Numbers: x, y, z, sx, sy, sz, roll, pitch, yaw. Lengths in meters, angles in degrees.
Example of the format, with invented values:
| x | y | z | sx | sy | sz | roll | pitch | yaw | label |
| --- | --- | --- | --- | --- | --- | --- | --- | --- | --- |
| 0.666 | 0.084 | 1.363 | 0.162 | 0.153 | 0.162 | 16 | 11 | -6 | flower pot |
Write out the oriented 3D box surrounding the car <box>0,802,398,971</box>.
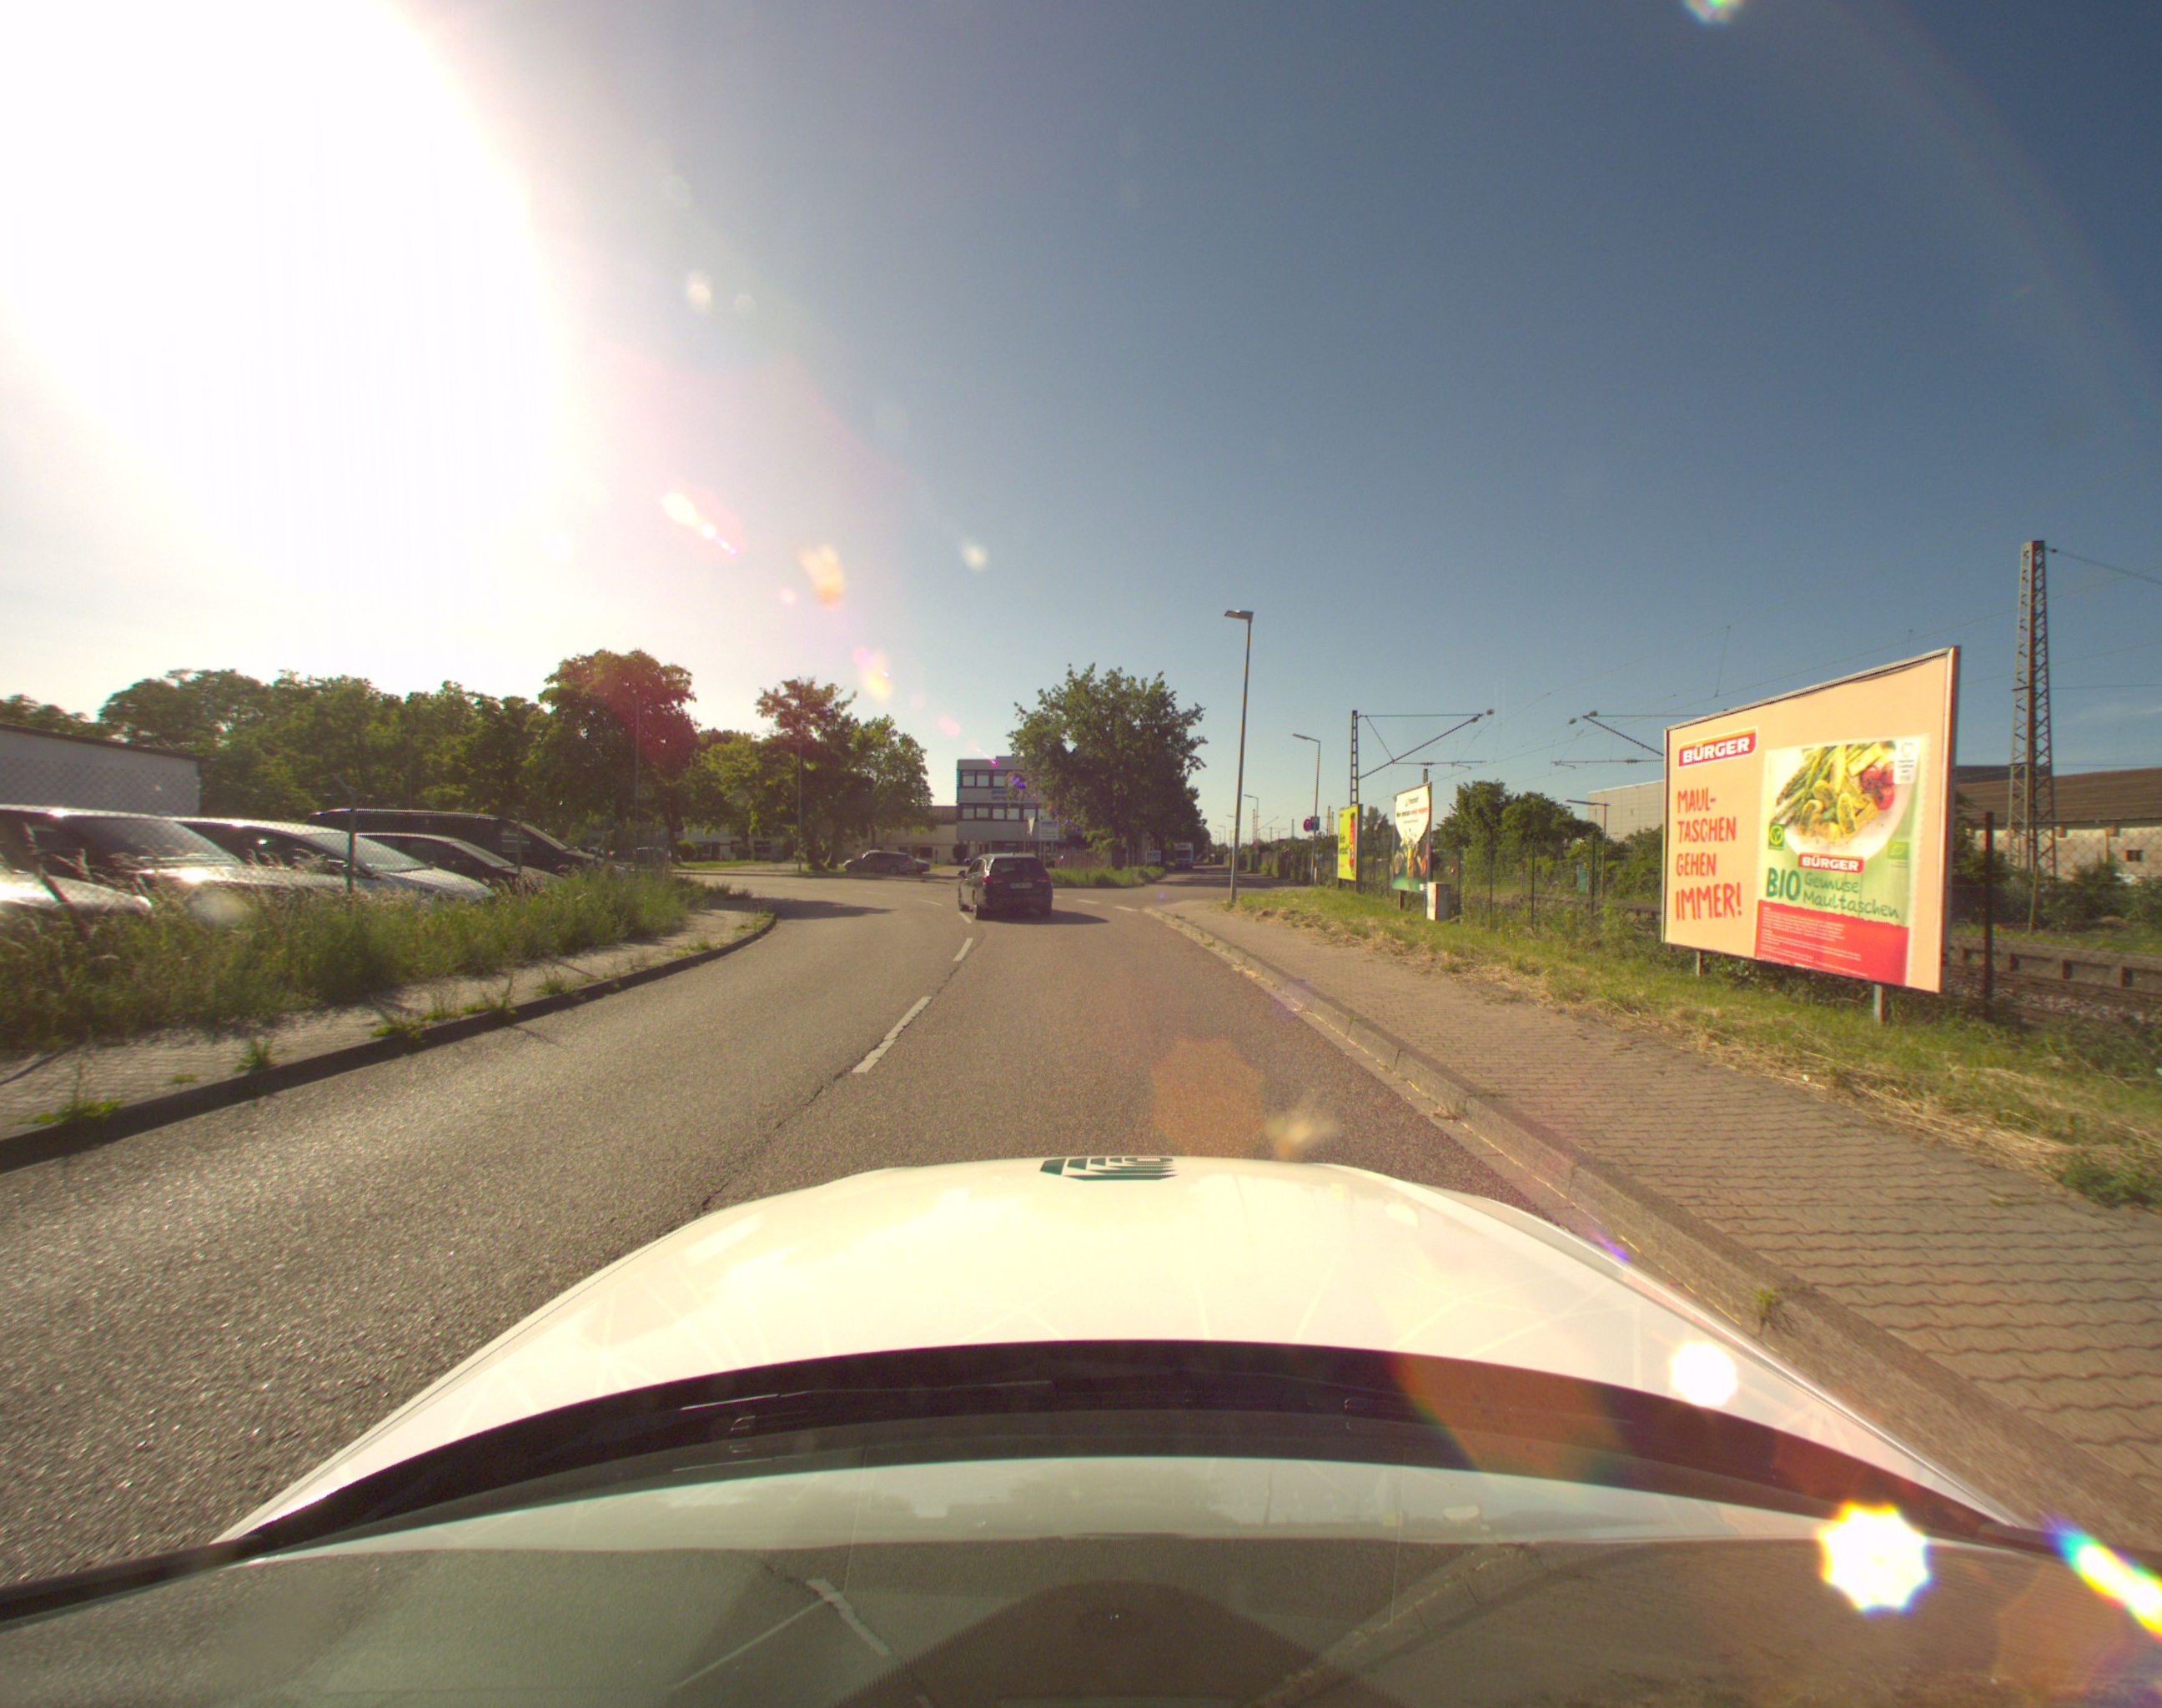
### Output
| x | y | z | sx | sy | sz | roll | pitch | yaw | label |
| --- | --- | --- | --- | --- | --- | --- | --- | --- | --- |
| -10.589 | 0.316 | 8.890 | 4.410 | 1.648 | 1.826 | 1 | 0 | -24 | car |

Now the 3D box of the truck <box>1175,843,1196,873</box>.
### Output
| x | y | z | sx | sy | sz | roll | pitch | yaw | label |
| --- | --- | --- | --- | --- | --- | --- | --- | --- | --- |
| 14.586 | 0.552 | 114.651 | 2.600 | 3.885 | 13.554 | 1 | 0 | 6 | truck |

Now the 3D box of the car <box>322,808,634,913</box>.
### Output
| x | y | z | sx | sy | sz | roll | pitch | yaw | label |
| --- | --- | --- | --- | --- | --- | --- | --- | --- | --- |
| -11.932 | 0.142 | 16.623 | 4.863 | 1.892 | 1.824 | 1 | 0 | -28 | car |

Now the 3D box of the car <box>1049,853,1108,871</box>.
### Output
| x | y | z | sx | sy | sz | roll | pitch | yaw | label |
| --- | --- | --- | --- | --- | --- | --- | --- | --- | --- |
| -0.174 | 0.659 | 71.822 | 4.877 | 1.484 | 2.007 | 1 | 1 | 12 | car |

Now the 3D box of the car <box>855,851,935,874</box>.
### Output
| x | y | z | sx | sy | sz | roll | pitch | yaw | label |
| --- | --- | --- | --- | --- | --- | --- | --- | --- | --- |
| -12.740 | 0.559 | 55.860 | 4.884 | 1.484 | 2.004 | 1 | 0 | 7 | car |

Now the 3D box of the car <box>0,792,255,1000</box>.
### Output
| x | y | z | sx | sy | sz | roll | pitch | yaw | label |
| --- | --- | --- | --- | --- | --- | --- | --- | --- | --- |
| -10.227 | 0.317 | 6.697 | 4.410 | 1.648 | 1.826 | 1 | 0 | -24 | car |

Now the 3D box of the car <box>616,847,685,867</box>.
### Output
| x | y | z | sx | sy | sz | roll | pitch | yaw | label |
| --- | --- | --- | --- | --- | --- | --- | --- | --- | --- |
| -34.334 | 0.217 | 64.999 | 4.871 | 1.484 | 2.009 | 1 | 0 | 18 | car |

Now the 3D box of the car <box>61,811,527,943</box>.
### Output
| x | y | z | sx | sy | sz | roll | pitch | yaw | label |
| --- | --- | --- | --- | --- | --- | --- | --- | --- | --- |
| -10.805 | 0.317 | 11.607 | 4.395 | 1.648 | 1.832 | 1 | 0 | -14 | car |

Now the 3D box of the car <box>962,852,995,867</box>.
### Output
| x | y | z | sx | sy | sz | roll | pitch | yaw | label |
| --- | --- | --- | --- | --- | --- | --- | --- | --- | --- |
| -10.633 | 0.540 | 84.795 | 1.981 | 1.484 | 4.942 | 1 | 1 | 11 | car |

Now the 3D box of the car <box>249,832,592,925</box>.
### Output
| x | y | z | sx | sy | sz | roll | pitch | yaw | label |
| --- | --- | --- | --- | --- | --- | --- | --- | --- | --- |
| -11.279 | 0.394 | 14.399 | 4.415 | 1.436 | 1.823 | 1 | 0 | -29 | car |

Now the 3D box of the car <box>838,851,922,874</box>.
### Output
| x | y | z | sx | sy | sz | roll | pitch | yaw | label |
| --- | --- | --- | --- | --- | --- | --- | --- | --- | --- |
| -13.106 | 0.555 | 53.277 | 4.884 | 1.426 | 2.004 | 1 | 0 | 7 | car |

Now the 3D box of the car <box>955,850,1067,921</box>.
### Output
| x | y | z | sx | sy | sz | roll | pitch | yaw | label |
| --- | --- | --- | --- | --- | --- | --- | --- | --- | --- |
| -1.838 | 0.661 | 19.886 | 1.946 | 1.488 | 4.542 | -1 | 0 | -15 | car |

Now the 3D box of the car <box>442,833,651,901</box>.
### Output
| x | y | z | sx | sy | sz | roll | pitch | yaw | label |
| --- | --- | --- | --- | --- | --- | --- | --- | --- | --- |
| -14.337 | 0.329 | 22.037 | 1.817 | 1.648 | 4.430 | 0 | 0 | 44 | car |
